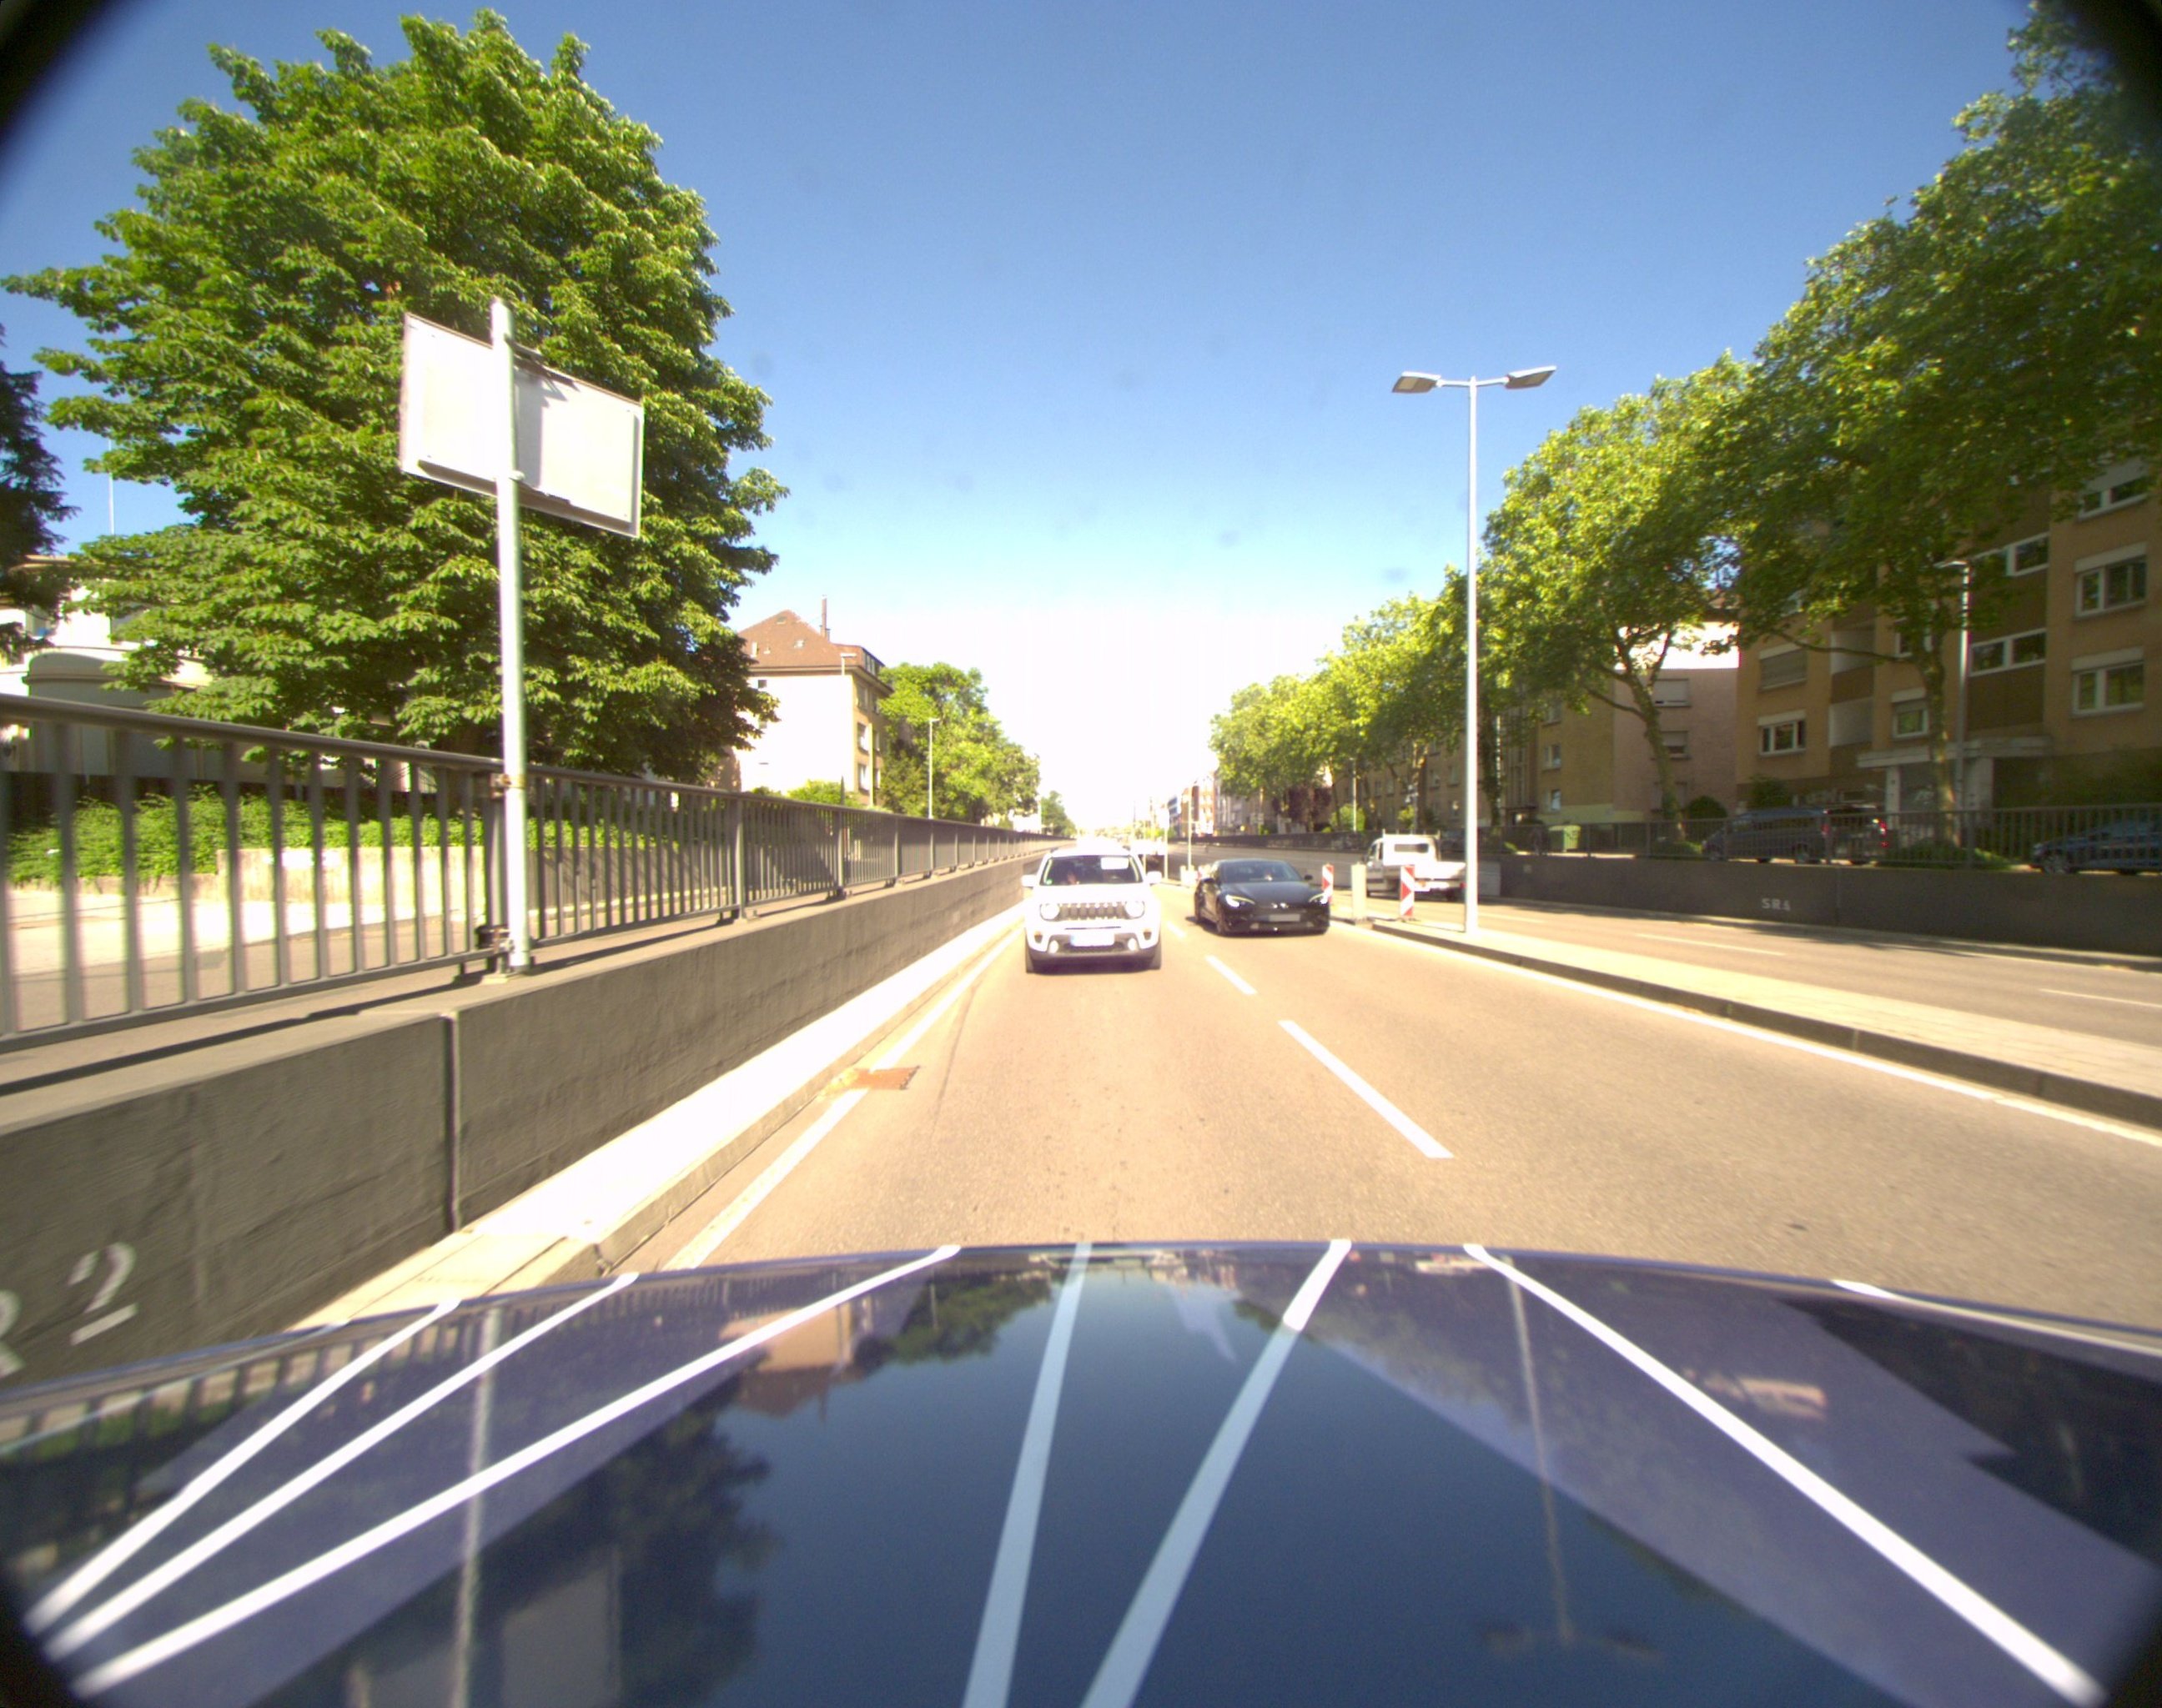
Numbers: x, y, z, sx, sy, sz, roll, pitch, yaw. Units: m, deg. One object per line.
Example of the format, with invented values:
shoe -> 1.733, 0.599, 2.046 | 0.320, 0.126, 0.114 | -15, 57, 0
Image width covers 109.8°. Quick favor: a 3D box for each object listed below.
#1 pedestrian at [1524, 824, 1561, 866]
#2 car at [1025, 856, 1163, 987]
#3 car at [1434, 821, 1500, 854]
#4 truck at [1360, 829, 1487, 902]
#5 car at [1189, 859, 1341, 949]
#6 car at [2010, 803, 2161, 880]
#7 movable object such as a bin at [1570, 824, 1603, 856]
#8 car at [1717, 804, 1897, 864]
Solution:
pedestrian -> 20.258, -0.383, 33.364 | 0.901, 1.789, 1.019 | 1, 1, -3
car -> 0.150, 0.871, 11.619 | 1.744, 1.648, 3.689 | -1, 0, -1
car -> 23.419, -0.959, 46.317 | 1.998, 1.839, 4.000 | 1, 0, 1
truck -> 12.349, 0.385, 27.908 | 2.285, 2.380, 5.367 | 1, 0, 1
car -> 3.492, 0.873, 15.377 | 1.930, 1.403, 4.626 | -3, 0, 1
car -> 22.851, -0.235, 15.873 | 1.998, 1.571, 4.000 | 1, 0, 2
movable object such as a bin -> 26.804, -0.723, 40.294 | 0.885, 1.632, 1.253 | 1, 0, 1
car -> 22.941, -0.577, 24.254 | 1.998, 1.743, 4.000 | -1, 0, 2
